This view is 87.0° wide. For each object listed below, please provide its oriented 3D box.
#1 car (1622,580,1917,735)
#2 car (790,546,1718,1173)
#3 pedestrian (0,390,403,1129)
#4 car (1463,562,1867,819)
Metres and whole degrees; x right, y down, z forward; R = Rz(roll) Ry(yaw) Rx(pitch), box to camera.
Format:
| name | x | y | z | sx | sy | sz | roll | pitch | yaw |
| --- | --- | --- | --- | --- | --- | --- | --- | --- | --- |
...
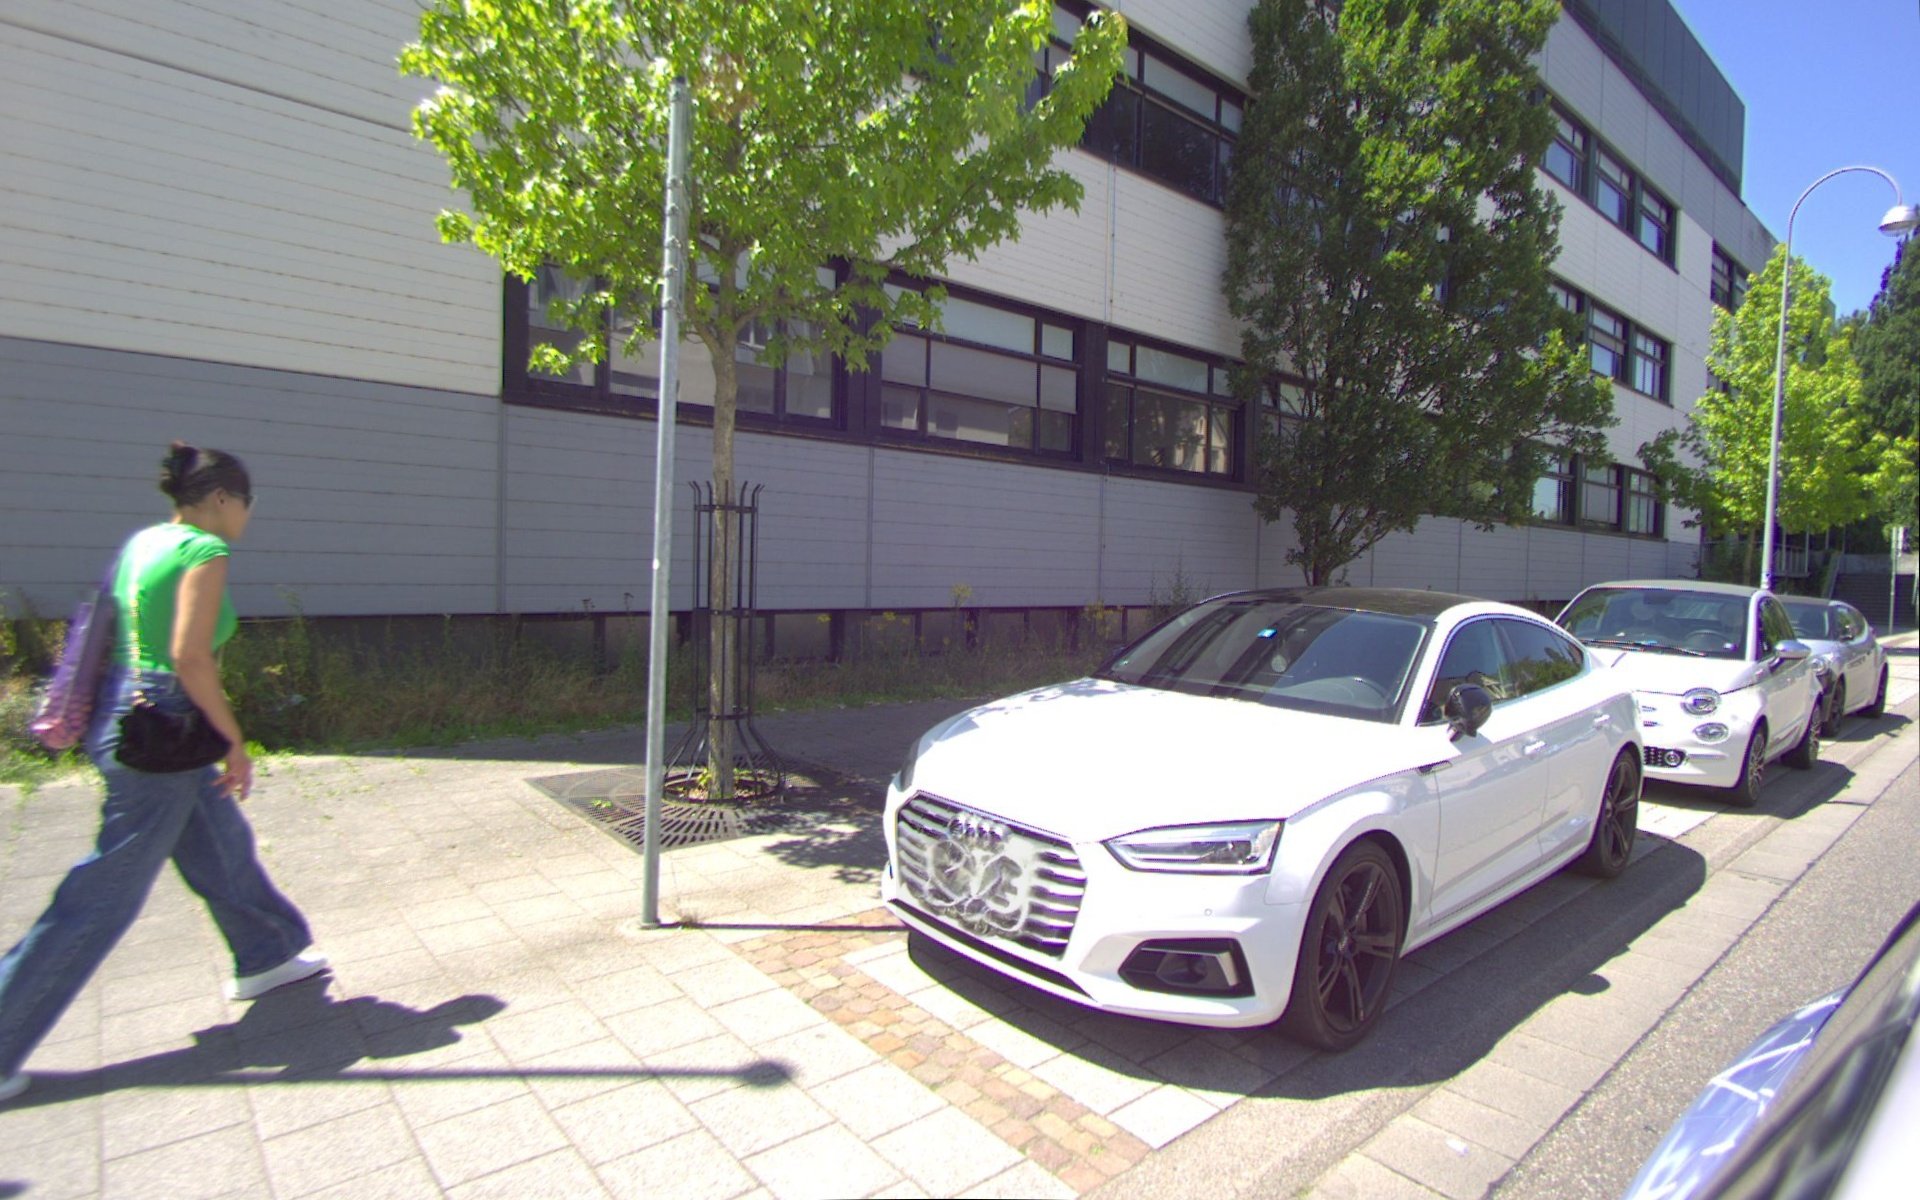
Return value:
| name | x | y | z | sx | sy | sz | roll | pitch | yaw |
| --- | --- | --- | --- | --- | --- | --- | --- | --- | --- |
| car | 9.268 | 0.520 | 11.492 | 3.929 | 1.382 | 1.841 | 0 | 3 | -40 |
| car | 1.777 | 0.575 | 4.759 | 4.796 | 1.487 | 1.919 | -1 | 3 | -42 |
| pedestrian | -2.284 | 0.347 | 2.870 | 0.676 | 1.720 | 1.038 | 4 | 3 | 32 |
| car | 5.712 | 0.511 | 8.031 | 3.810 | 1.516 | 1.714 | 0 | 3 | -41 |
